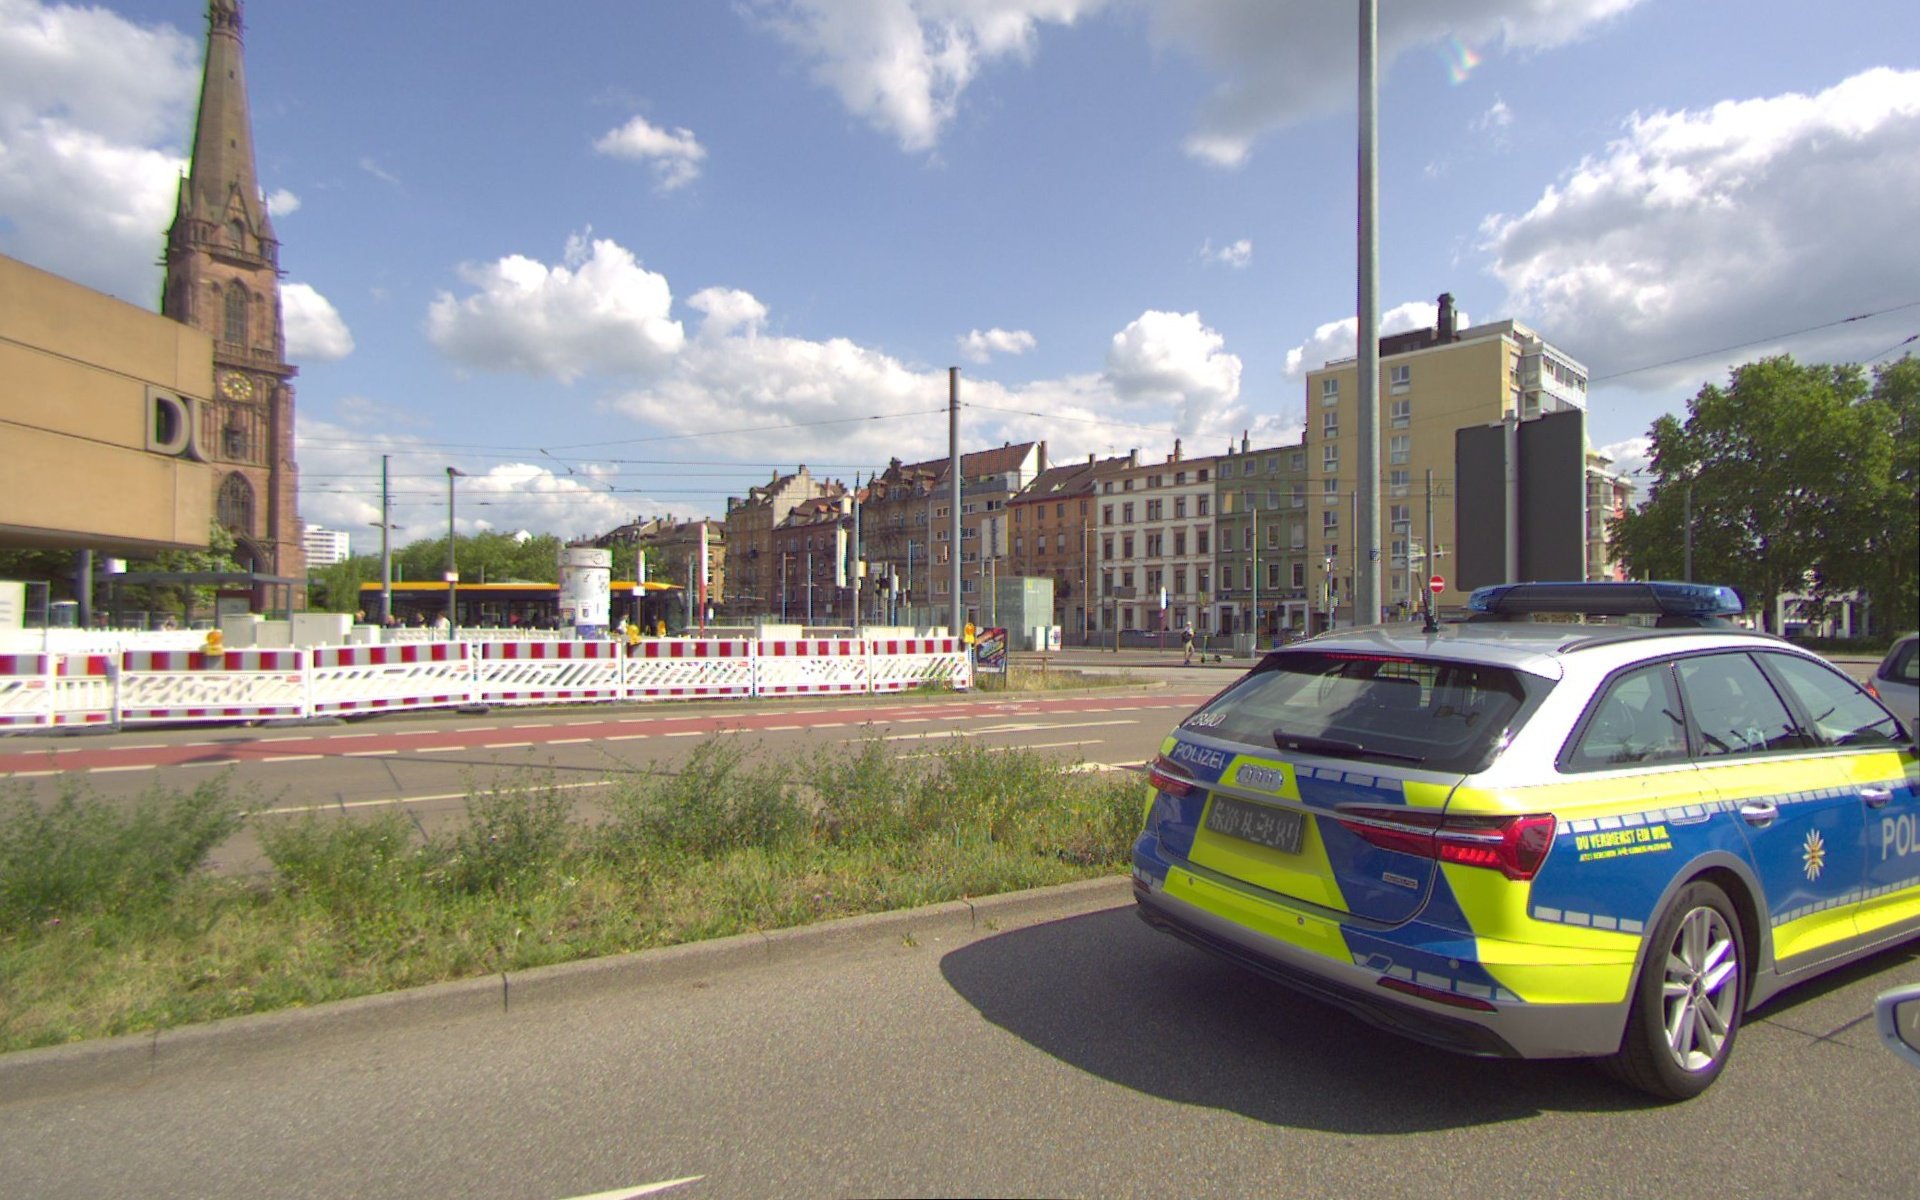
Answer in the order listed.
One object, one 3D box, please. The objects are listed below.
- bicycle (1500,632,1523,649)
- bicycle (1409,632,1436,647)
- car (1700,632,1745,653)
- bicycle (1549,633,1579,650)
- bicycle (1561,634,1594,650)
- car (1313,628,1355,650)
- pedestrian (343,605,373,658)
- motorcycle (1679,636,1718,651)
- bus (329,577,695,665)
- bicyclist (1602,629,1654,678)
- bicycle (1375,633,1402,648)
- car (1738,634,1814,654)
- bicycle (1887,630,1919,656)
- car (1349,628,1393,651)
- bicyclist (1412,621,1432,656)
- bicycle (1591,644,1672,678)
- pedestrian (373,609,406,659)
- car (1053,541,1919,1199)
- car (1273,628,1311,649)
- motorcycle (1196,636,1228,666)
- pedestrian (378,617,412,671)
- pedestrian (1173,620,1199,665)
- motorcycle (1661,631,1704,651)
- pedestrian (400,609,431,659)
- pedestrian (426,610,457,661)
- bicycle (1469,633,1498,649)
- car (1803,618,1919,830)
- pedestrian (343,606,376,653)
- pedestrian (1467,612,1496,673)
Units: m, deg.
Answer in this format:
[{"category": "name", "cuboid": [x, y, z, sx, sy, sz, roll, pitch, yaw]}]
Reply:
[{"category": "bicycle", "cuboid": [40.712, 2.976, 74.108, 1.791, 1.275, 0.789, 1, -1, -34]}, {"category": "bicycle", "cuboid": [35.637, 3.028, 77.373, 1.783, 1.118, 0.792, 0, -1, 42]}, {"category": "car", "cuboid": [55.421, 3.109, 73.020, 3.970, 1.432, 1.888, 4, -4, -42]}, {"category": "bicycle", "cuboid": [43.551, 2.973, 72.412, 1.784, 1.162, 0.792, 0, -1, 43]}, {"category": "bicycle", "cuboid": [44.790, 3.026, 72.832, 1.922, 1.162, 0.792, -1, -1, 43]}, {"category": "car", "cuboid": [27.328, 2.848, 73.558, 1.861, 1.516, 3.902, 1, -2, 4]}, {"category": "pedestrian", "cuboid": [-19.044, 0.982, 31.781, 0.549, 1.651, 0.732, 1, -1, -7]}, {"category": "motorcycle", "cuboid": [50.428, 2.972, 68.572, 2.003, 0.929, 0.812, -1, -1, 7]}, {"category": "bus", "cuboid": [-16.817, 0.804, 38.335, 12.589, 3.177, 2.834, 0, -1, -1]}, {"category": "bicyclist", "cuboid": [24.563, 1.958, 36.947, 0.984, 1.753, 1.290, 2, -2, -32]}, {"category": "bicycle", "cuboid": [33.775, 3.198, 79.237, 1.783, 1.118, 0.792, 0, -1, 42]}, {"category": "car", "cuboid": [59.095, 3.170, 72.794, 1.615, 1.344, 3.967, 3, -3, -31]}, {"category": "bicycle", "cuboid": [54.449, 2.441, 57.379, 0.807, 1.433, 2.146, 0, 0, -44]}, {"category": "car", "cuboid": [29.683, 2.863, 72.587, 1.861, 1.516, 3.903, 1, -2, 5]}, {"category": "bicyclist", "cuboid": [24.480, 2.038, 53.257, 0.768, 1.821, 0.706, 2, 0, 41]}, {"category": "bicycle", "cuboid": [24.622, 2.214, 36.875, 0.984, 1.204, 2.281, 2, -3, -32]}, {"category": "pedestrian", "cuboid": [-19.031, 1.121, 33.509, 0.640, 1.653, 0.765, 1, -1, -4]}, {"category": "car", "cuboid": [2.796, 0.715, 4.407, 4.562, 1.589, 1.871, 1, -2, -31]}, {"category": "car", "cuboid": [25.144, 2.912, 76.216, 1.861, 1.516, 3.902, 1, -2, 4]}, {"category": "motorcycle", "cuboid": [10.622, 2.133, 42.334, 0.478, 1.253, 1.437, 2, -2, -27]}, {"category": "pedestrian", "cuboid": [-17.538, 1.359, 31.175, 0.760, 1.653, 0.645, 2, -1, -41]}, {"category": "pedestrian", "cuboid": [9.397, 1.745, 41.836, 0.753, 1.821, 1.026, 2, 0, 29]}, {"category": "motorcycle", "cuboid": [46.850, 2.660, 65.162, 0.890, 1.254, 2.214, 0, -1, -12]}, {"category": "pedestrian", "cuboid": [-18.203, 1.132, 33.597, 0.640, 1.653, 0.765, 1, -1, -6]}, {"category": "pedestrian", "cuboid": [-16.978, 1.167, 32.917, 0.640, 1.653, 0.765, 1, -1, -6]}, {"category": "bicycle", "cuboid": [38.609, 3.011, 74.047, 1.783, 1.118, 0.792, 0, -1, 42]}, {"category": "car", "cuboid": [8.590, 0.913, 7.867, 3.953, 1.494, 1.839, 1, -2, -30]}, {"category": "pedestrian", "cuboid": [-21.331, 1.057, 35.677, 0.751, 1.653, 0.652, 1, -1, -4]}, {"category": "pedestrian", "cuboid": [16.954, 1.362, 32.659, 0.753, 1.928, 0.825, 2, 0, 29]}]
